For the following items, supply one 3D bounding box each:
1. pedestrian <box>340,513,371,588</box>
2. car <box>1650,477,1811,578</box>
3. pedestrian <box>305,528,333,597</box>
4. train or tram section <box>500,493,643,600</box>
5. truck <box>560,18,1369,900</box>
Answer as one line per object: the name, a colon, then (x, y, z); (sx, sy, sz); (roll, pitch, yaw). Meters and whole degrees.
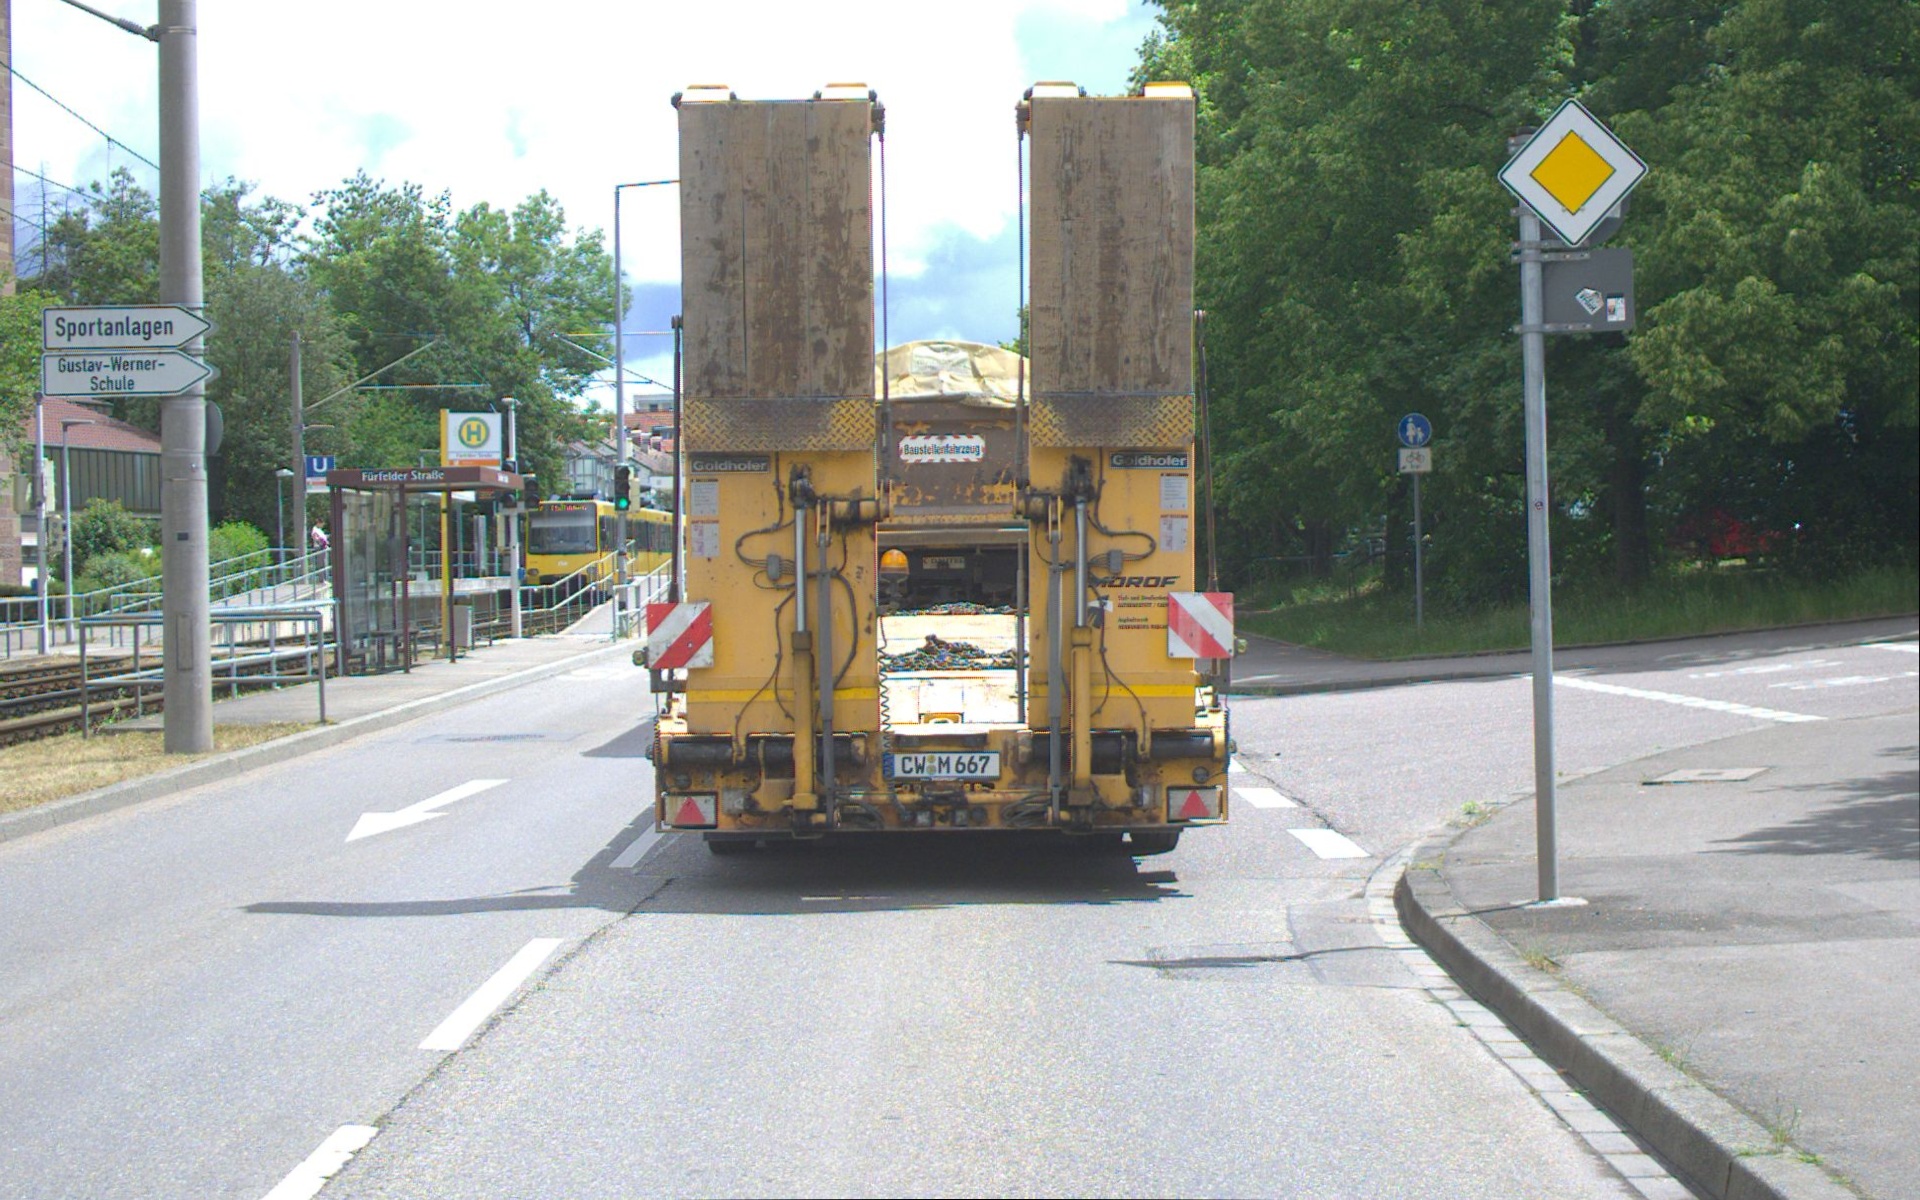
pedestrian: (-16.309, -1.331, 92.810); (0.712, 2.007, 0.732); (1, 0, -2)
car: (12.419, -1.149, 55.597); (1.661, 1.495, 3.663); (-3, 0, -1)
pedestrian: (-16.442, -0.958, 88.190); (0.584, 1.771, 0.576); (1, 0, 0)
train or tram section: (-13.608, -1.841, 122.164); (3.108, 3.453, 18.827); (1, 0, -1)
truck: (-0.326, -0.671, 21.485); (3.402, 3.719, 13.740); (-1, 1, -3)
